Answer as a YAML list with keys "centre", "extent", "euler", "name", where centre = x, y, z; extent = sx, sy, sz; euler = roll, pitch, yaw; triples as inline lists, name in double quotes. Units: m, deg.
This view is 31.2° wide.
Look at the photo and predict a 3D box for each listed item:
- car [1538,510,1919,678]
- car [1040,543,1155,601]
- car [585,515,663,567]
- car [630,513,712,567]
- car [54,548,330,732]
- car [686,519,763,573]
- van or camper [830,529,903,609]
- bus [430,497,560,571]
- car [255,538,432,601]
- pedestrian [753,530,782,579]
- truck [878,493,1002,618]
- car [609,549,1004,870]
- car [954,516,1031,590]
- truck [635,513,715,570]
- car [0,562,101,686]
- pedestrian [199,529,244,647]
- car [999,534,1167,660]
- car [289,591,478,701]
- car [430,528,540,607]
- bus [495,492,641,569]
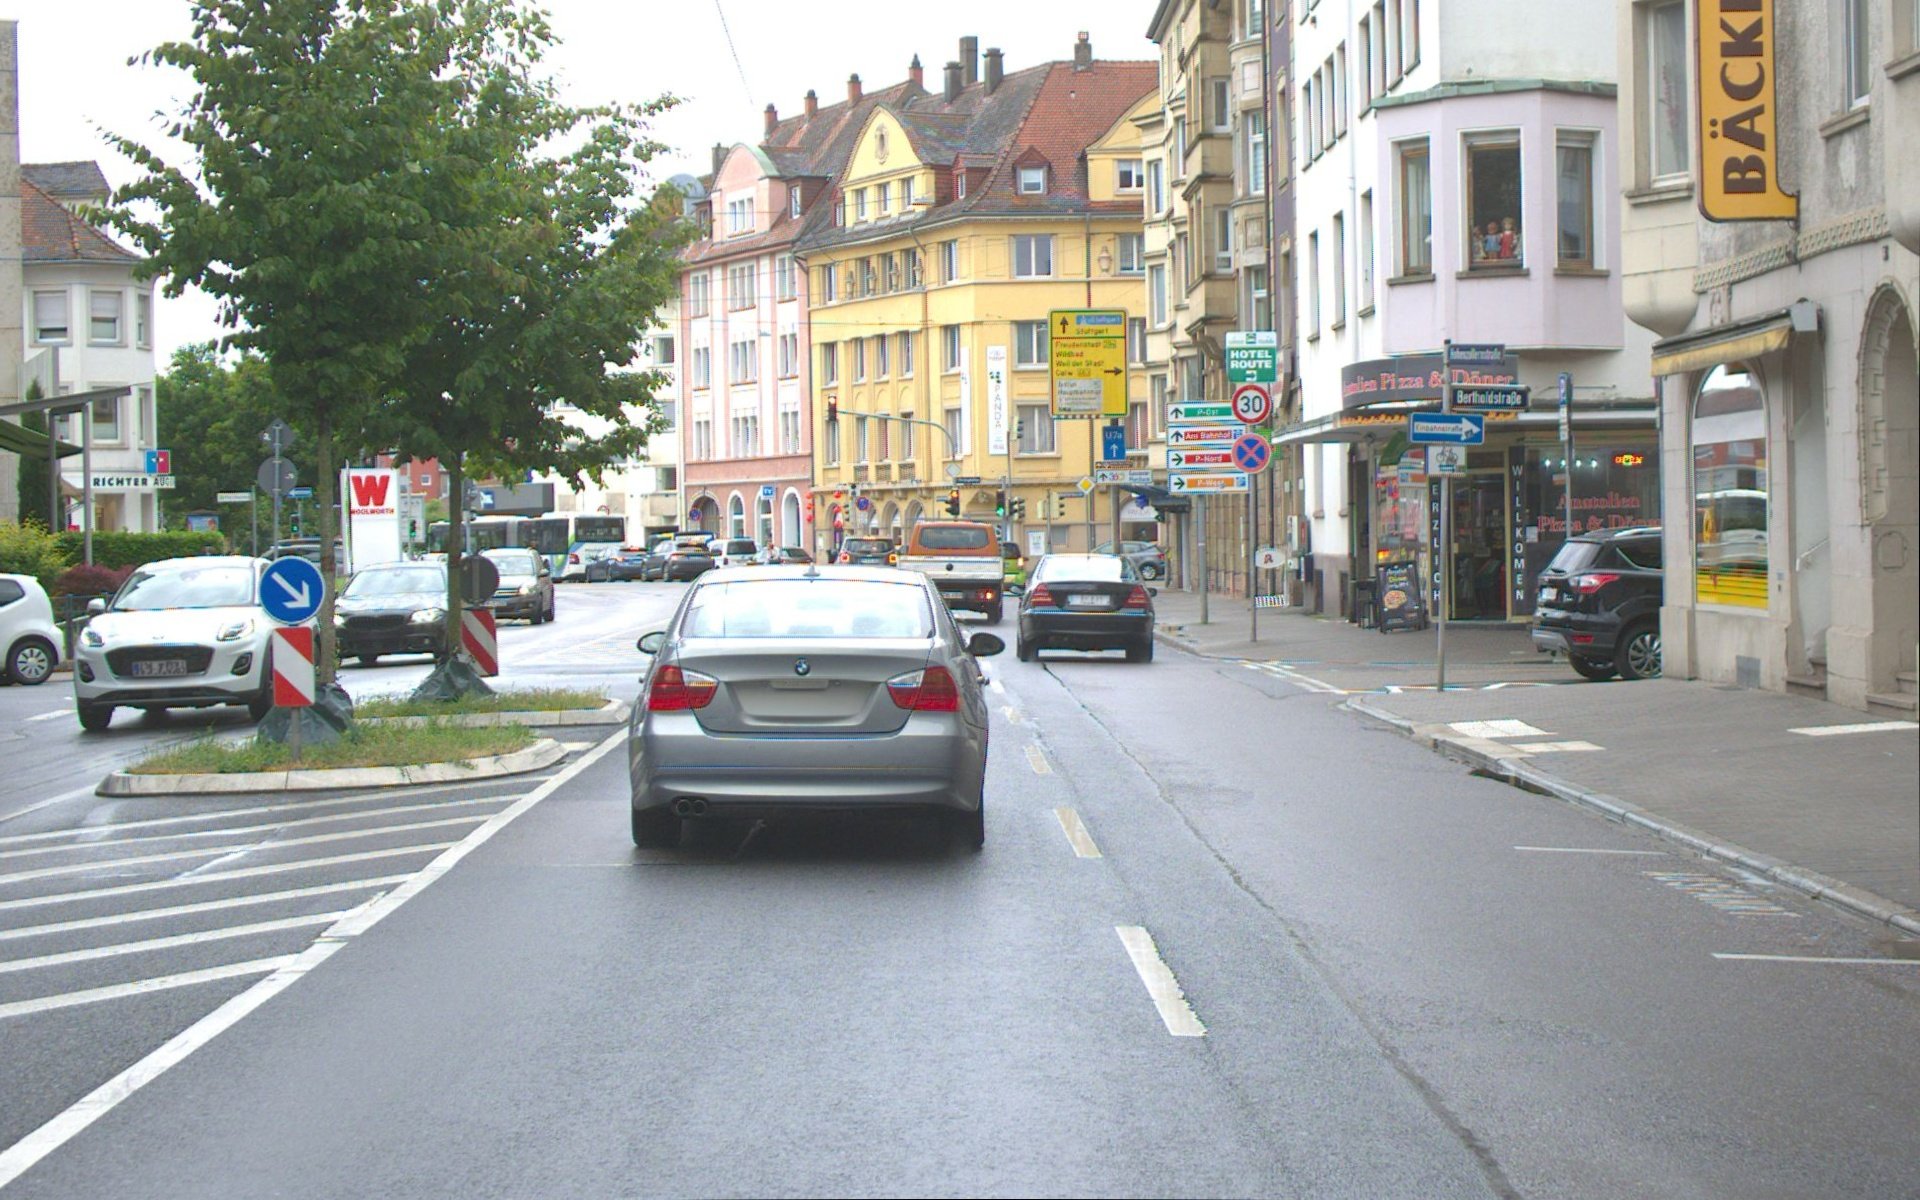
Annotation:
- centre: [8.415, -0.085, 37.344]
  extent: [4.139, 1.766, 1.873]
  euler: [0, 1, 7]
  name: "car"
- centre: [5.060, -1.036, 126.476]
  extent: [3.988, 2.007, 1.999]
  euler: [2, 0, 8]
  name: "car"
- centre: [-13.314, -2.331, 136.172]
  extent: [1.993, 2.007, 4.001]
  euler: [-1, 1, -22]
  name: "car"
- centre: [-10.991, -2.267, 130.455]
  extent: [1.993, 2.007, 4.001]
  euler: [-1, 1, -22]
  name: "car"
- centre: [-7.290, 0.332, 33.000]
  extent: [1.819, 1.563, 4.090]
  euler: [-2, 1, -2]
  name: "car"
- centre: [-9.928, -2.293, 144.612]
  extent: [1.761, 2.173, 4.001]
  euler: [2, 1, -26]
  name: "car"
- centre: [-2.629, -0.883, 95.618]
  extent: [1.854, 2.139, 4.143]
  euler: [1, 1, -4]
  name: "van or camper"
- centre: [-20.623, -2.911, 152.113]
  extent: [2.908, 3.094, 8.873]
  euler: [-2, 2, -27]
  name: "bus"
- centre: [-16.330, -0.815, 91.226]
  extent: [4.444, 1.521, 1.886]
  euler: [2, 1, -6]
  name: "car"
- centre: [-6.048, -1.438, 107.886]
  extent: [0.760, 1.524, 0.508]
  euler: [1, 0, -21]
  name: "pedestrian"
- centre: [-0.423, -0.848, 64.470]
  extent: [2.224, 2.242, 5.063]
  euler: [0, 1, -1]
  name: "truck"
- centre: [-0.786, 0.484, 18.090]
  extent: [1.799, 1.459, 4.371]
  euler: [1, 1, -2]
  name: "car"
- centre: [0.893, -1.333, 96.483]
  extent: [1.993, 2.007, 4.000]
  euler: [0, 1, -2]
  name: "car"
- centre: [-12.397, -2.551, 149.449]
  extent: [2.026, 2.381, 4.238]
  euler: [1, 1, -26]
  name: "truck"
- centre: [-13.115, 0.302, 44.342]
  extent: [3.577, 1.564, 1.741]
  euler: [-1, 1, -34]
  name: "car"
- centre: [-11.111, -0.180, 51.733]
  extent: [0.574, 1.756, 0.581]
  euler: [-1, 1, -7]
  name: "pedestrian"
- centre: [1.563, -0.048, 44.880]
  extent: [1.799, 1.558, 4.000]
  euler: [0, 0, -4]
  name: "car"
- centre: [-8.229, 0.626, 49.407]
  extent: [2.013, 1.421, 4.500]
  euler: [1, 1, -1]
  name: "car"
- centre: [-10.312, -0.721, 74.396]
  extent: [1.947, 1.653, 4.058]
  euler: [0, 1, -14]
  name: "car"
- centre: [-16.493, -2.899, 144.065]
  extent: [2.908, 3.094, 9.144]
  euler: [-2, 2, -28]
  name: "bus"
